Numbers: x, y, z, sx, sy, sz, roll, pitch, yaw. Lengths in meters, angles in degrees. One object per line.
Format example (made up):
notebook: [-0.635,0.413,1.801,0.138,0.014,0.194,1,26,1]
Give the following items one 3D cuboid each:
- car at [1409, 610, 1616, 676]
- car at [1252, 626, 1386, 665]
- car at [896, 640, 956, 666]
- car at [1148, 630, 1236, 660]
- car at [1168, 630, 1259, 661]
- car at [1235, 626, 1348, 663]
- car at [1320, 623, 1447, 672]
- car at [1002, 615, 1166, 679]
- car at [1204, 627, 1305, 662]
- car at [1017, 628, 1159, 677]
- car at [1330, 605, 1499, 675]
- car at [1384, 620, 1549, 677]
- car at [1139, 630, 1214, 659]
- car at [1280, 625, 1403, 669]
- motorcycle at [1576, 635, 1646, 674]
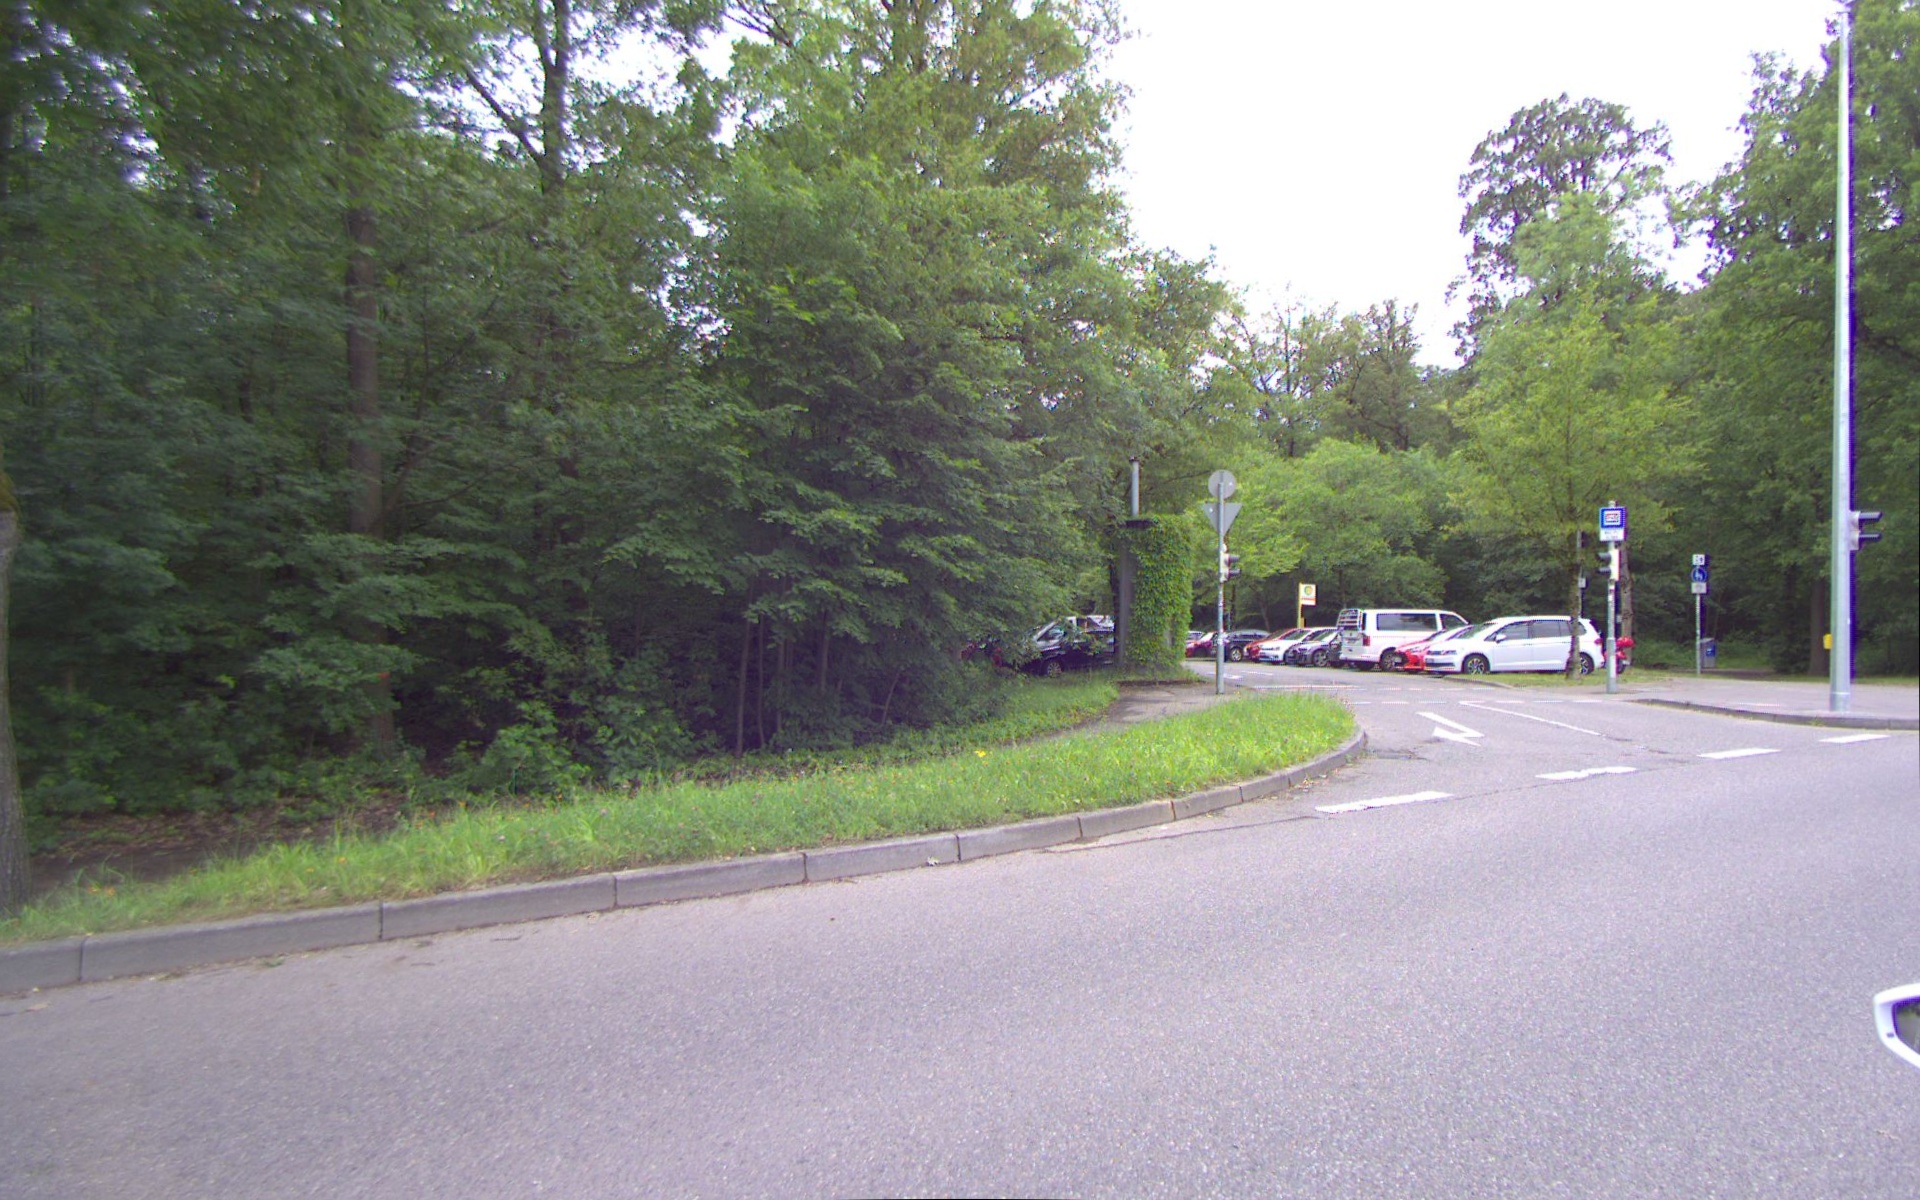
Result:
car: [15.021,1.181,27.503,4.445,1.715,2.166,0,-3,1]
car: [14.259,1.806,40.035,4.696,1.495,1.852,0,-2,-5]
car: [-2.360,3.639,68.958,3.900,1.649,1.996,-1,-2,-8]
car: [12.181,2.381,52.832,4.065,1.480,1.862,0,-3,-10]
car: [12.652,2.269,50.205,3.930,1.468,1.937,0,-2,-12]
car: [14.069,1.887,42.728,4.164,1.500,1.917,0,-3,-8]
car: [14.851,1.653,35.337,3.664,1.575,1.844,2,0,-6]
car: [3.975,1.509,32.686,5.004,1.940,1.978,-1,-2,-3]
car: [13.202,1.992,45.194,3.926,1.502,1.920,0,-2,-8]
car: [3.756,1.543,29.876,3.923,1.397,1.722,0,-2,-4]
car: [14.767,1.283,32.799,4.575,2.048,2.082,2,-1,-4]
car: [15.053,1.421,30.025,3.930,1.576,1.947,1,-1,2]
car: [11.874,2.446,55.195,3.648,1.530,1.748,0,-3,-12]
car: [14.264,1.792,37.660,3.925,1.502,1.876,2,-3,-6]
motorcycle: [20.553,1.691,31.754,0.665,1.176,2.008,0,-1,-10]
